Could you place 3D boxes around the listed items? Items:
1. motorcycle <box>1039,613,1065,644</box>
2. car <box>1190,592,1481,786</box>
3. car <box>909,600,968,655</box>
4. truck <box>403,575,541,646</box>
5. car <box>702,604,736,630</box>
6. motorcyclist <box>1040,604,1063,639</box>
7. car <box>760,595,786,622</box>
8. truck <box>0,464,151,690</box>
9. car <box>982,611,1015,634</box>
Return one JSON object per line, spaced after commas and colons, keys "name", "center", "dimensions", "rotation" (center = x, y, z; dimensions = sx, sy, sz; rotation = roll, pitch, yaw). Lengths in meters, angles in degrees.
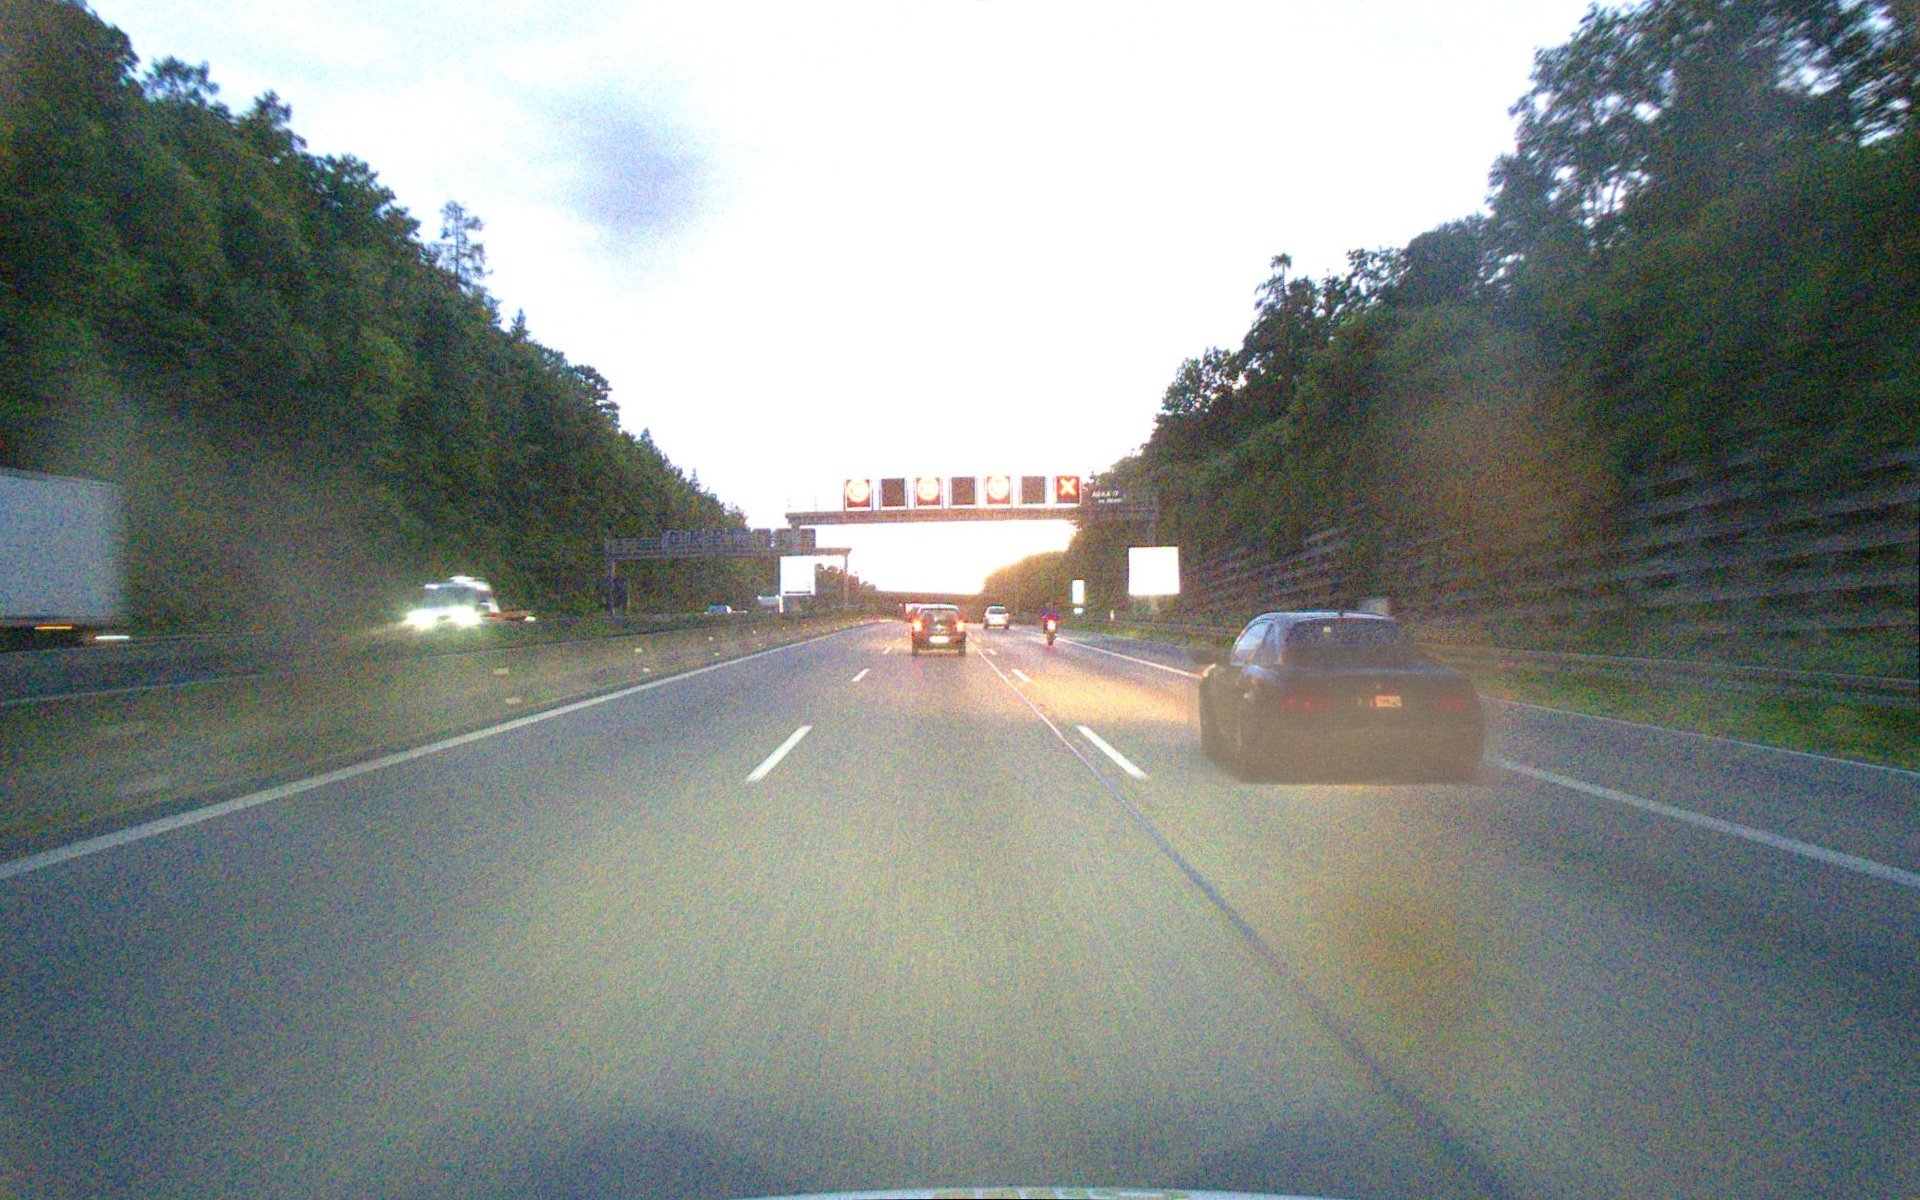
{"name": "motorcycle", "center": [3.486, 1.075, 63.040], "dimensions": [0.813, 1.154, 2.475], "rotation": [0, -1, -1]}
{"name": "car", "center": [3.443, 0.729, 16.005], "dimensions": [1.788, 1.501, 4.399], "rotation": [-1, 1, 0]}
{"name": "car", "center": [-0.628, 0.812, 49.309], "dimensions": [1.669, 1.536, 4.231], "rotation": [1, -1, 0]}
{"name": "truck", "center": [-18.903, 0.379, 64.789], "dimensions": [2.410, 2.553, 9.755], "rotation": [0, 0, 1]}
{"name": "car", "center": [-16.299, 1.146, 112.044], "dimensions": [1.701, 1.745, 4.713], "rotation": [0, 0, -1]}
{"name": "motorcyclist", "center": [3.482, 0.824, 62.975], "dimensions": [0.813, 1.314, 1.190], "rotation": [0, -1, -1]}
{"name": "car", "center": [-21.018, 1.012, 186.326], "dimensions": [1.941, 2.931, 7.834], "rotation": [-1, -1, 0]}
{"name": "truck", "center": [-18.926, -0.394, 28.428], "dimensions": [3.289, 4.073, 14.492], "rotation": [-1, 0, -2]}
{"name": "car", "center": [2.639, 1.581, 114.203], "dimensions": [1.829, 1.520, 4.393], "rotation": [1, -1, -5]}
